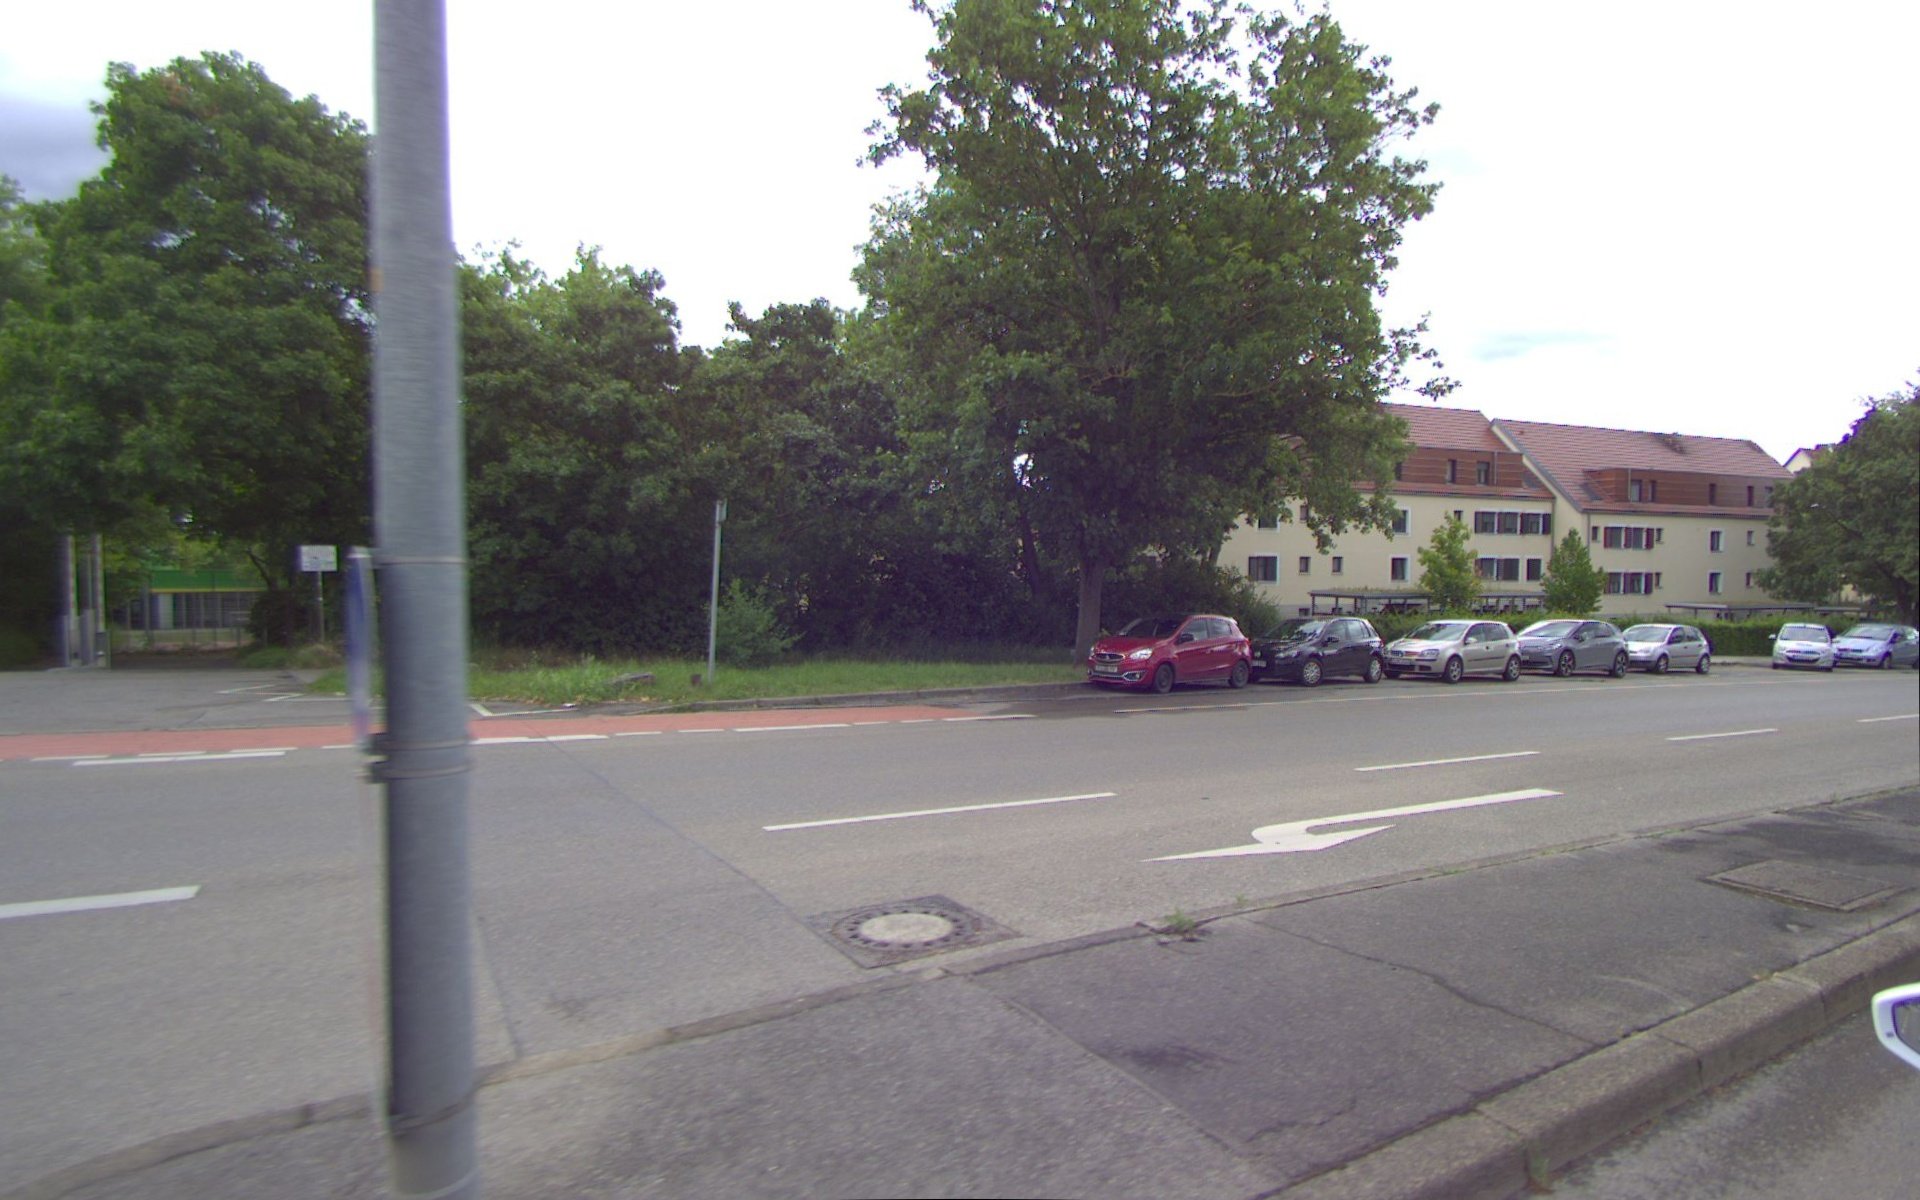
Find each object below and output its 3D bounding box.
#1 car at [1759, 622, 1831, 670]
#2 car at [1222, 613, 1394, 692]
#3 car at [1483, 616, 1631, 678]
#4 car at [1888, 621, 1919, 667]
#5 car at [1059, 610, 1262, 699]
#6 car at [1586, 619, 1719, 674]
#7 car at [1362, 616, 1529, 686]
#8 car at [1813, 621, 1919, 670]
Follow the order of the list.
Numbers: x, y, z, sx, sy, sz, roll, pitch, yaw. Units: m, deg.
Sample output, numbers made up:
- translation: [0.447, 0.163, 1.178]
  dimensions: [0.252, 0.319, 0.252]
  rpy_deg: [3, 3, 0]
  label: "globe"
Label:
- translation: [29.181, 1.550, 35.164]
  dimensions: [1.853, 1.527, 3.982]
  rpy_deg: [1, 0, 39]
  label: "car"
- translation: [7.766, 1.108, 22.272]
  dimensions: [3.969, 1.527, 1.859]
  rpy_deg: [2, 0, -41]
  label: "car"
- translation: [16.589, 1.287, 27.901]
  dimensions: [3.954, 1.527, 1.865]
  rpy_deg: [2, 0, -31]
  label: "car"
- translation: [38.303, 1.779, 38.936]
  dimensions: [4.331, 1.689, 1.870]
  rpy_deg: [3, 0, -25]
  label: "car"
- translation: [3.989, 1.004, 19.761]
  dimensions: [3.855, 1.527, 1.860]
  rpy_deg: [1, 1, -39]
  label: "car"
- translation: [21.122, 1.391, 30.620]
  dimensions: [3.953, 1.527, 1.866]
  rpy_deg: [1, 0, -30]
  label: "car"
- translation: [11.953, 1.213, 24.694]
  dimensions: [4.013, 1.527, 1.864]
  rpy_deg: [2, 0, -33]
  label: "car"
- translation: [33.613, 1.687, 36.942]
  dimensions: [3.946, 1.618, 1.870]
  rpy_deg: [3, 0, -25]
  label: "car"
